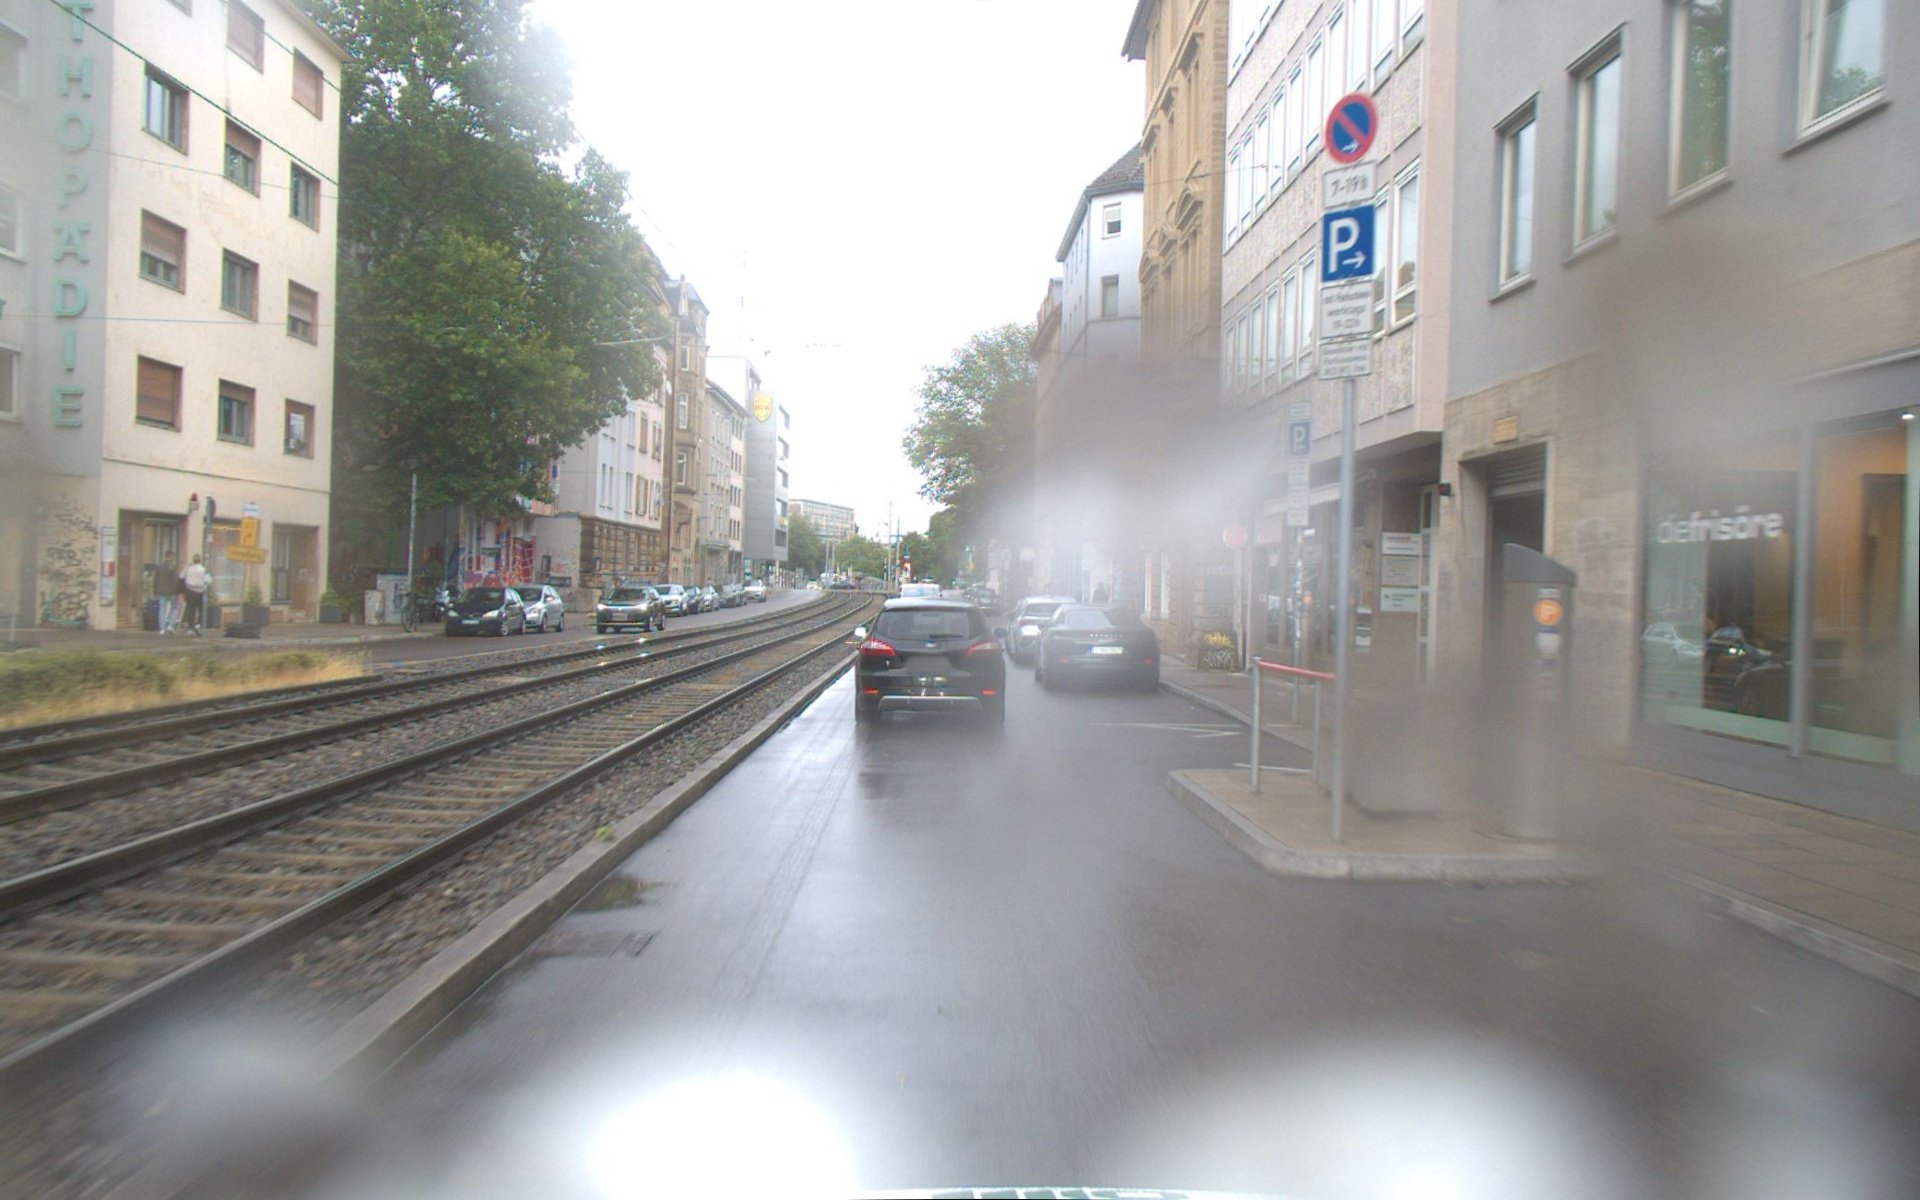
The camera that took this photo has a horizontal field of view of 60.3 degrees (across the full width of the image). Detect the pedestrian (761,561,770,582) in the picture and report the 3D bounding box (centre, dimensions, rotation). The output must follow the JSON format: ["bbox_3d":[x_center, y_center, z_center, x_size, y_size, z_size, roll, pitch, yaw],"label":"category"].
[{"bbox_3d":[-18.159,-2.629,154.265,0.729,1.886,0.839,1,-1,-2],"label":"pedestrian"}]

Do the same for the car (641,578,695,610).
[{"bbox_3d":[-14.666,-0.309,83.327,1.953,1.545,4.434,2,0,-1],"label":"car"}]

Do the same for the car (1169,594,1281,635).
[{"bbox_3d":[9.814,0.534,61.492,3.905,1.455,1.787,1,1,1],"label":"car"}]

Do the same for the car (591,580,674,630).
[{"bbox_3d":[-11.062,0.149,56.179,1.953,1.545,4.443,2,0,-1],"label":"car"}]

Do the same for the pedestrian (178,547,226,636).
[{"bbox_3d":[-16.592,-0.183,36.218,0.665,1.929,0.742,2,0,-1],"label":"pedestrian"}]

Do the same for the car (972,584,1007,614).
[{"bbox_3d":[1.638,-0.072,91.638,1.703,1.515,3.999,1,1,-2],"label":"car"}]

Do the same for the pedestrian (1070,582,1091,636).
[{"bbox_3d":[4.347,0.317,59.747,0.648,1.884,0.821,1,1,-2],"label":"pedestrian"}]

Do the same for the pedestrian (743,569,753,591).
[{"bbox_3d":[-18.972,-1.793,148.036,0.729,1.886,0.839,1,-1,-2],"label":"pedestrian"}]

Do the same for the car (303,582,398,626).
[{"bbox_3d":[-21.448,0.116,58.362,1.953,1.480,3.999,1,1,-2],"label":"car"}]

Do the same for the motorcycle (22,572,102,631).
[{"bbox_3d":[-19.154,0.027,35.294,1.447,1.200,0.386,2,0,-3],"label":"motorcycle"}]

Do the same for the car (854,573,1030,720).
[{"bbox_3d":[-0.224,0.536,20.689,1.953,1.622,4.270,1,-1,-1],"label":"car"}]

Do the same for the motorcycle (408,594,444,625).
[{"bbox_3d":[-18.831,0.324,58.377,0.626,1.051,2.118,2,0,-3],"label":"motorcycle"}]

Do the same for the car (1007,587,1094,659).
[{"bbox_3d":[2.123,0.501,39.694,1.711,1.549,4.354,1,1,-2],"label":"car"}]

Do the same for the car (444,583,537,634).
[{"bbox_3d":[-14.250,0.234,50.441,1.708,1.494,4.219,0,0,-1],"label":"car"}]

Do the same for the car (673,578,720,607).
[{"bbox_3d":[-14.982,-0.444,94.339,1.953,1.545,4.991,2,0,-1],"label":"car"}]

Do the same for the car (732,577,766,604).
[{"bbox_3d":[-15.633,-0.709,122.668,1.953,1.871,5.069,2,0,-2],"label":"car"}]

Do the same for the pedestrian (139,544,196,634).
[{"bbox_3d":[-17.359,-0.245,36.246,0.712,1.929,0.982,2,0,-1],"label":"pedestrian"}]

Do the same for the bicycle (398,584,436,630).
[{"bbox_3d":[-15.602,0.195,47.573,0.580,1.248,2.399,2,0,-8],"label":"bicycle"}]

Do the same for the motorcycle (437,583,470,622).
[{"bbox_3d":[-18.691,0.075,61.054,0.626,1.403,2.118,2,0,-3],"label":"motorcycle"}]

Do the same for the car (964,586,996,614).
[{"bbox_3d":[1.152,-0.029,96.234,1.609,1.542,4.038,1,1,-2],"label":"car"}]

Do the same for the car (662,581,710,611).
[{"bbox_3d":[-14.812,-0.220,89.543,1.953,1.545,4.208,2,0,-1],"label":"car"}]

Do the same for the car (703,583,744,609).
[{"bbox_3d":[-14.991,-0.268,105.067,1.953,1.545,4.675,2,0,-1],"label":"car"}]

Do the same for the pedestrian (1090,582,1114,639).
[{"bbox_3d":[5.118,0.375,59.826,0.721,2.049,0.821,1,1,-2],"label":"pedestrian"}]

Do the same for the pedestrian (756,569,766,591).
[{"bbox_3d":[-17.819,-1.800,148.123,0.729,1.886,0.839,1,-1,-2],"label":"pedestrian"}]

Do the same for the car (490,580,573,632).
[{"bbox_3d":[-14.267,0.184,55.245,1.687,1.597,4.219,2,0,-1],"label":"car"}]

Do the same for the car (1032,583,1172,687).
[{"bbox_3d":[2.350,0.574,28.524,1.953,1.622,4.571,1,-1,-1],"label":"car"}]

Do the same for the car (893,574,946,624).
[{"bbox_3d":[-1.523,-0.021,63.635,1.953,1.848,4.270,1,-1,-1],"label":"car"}]
